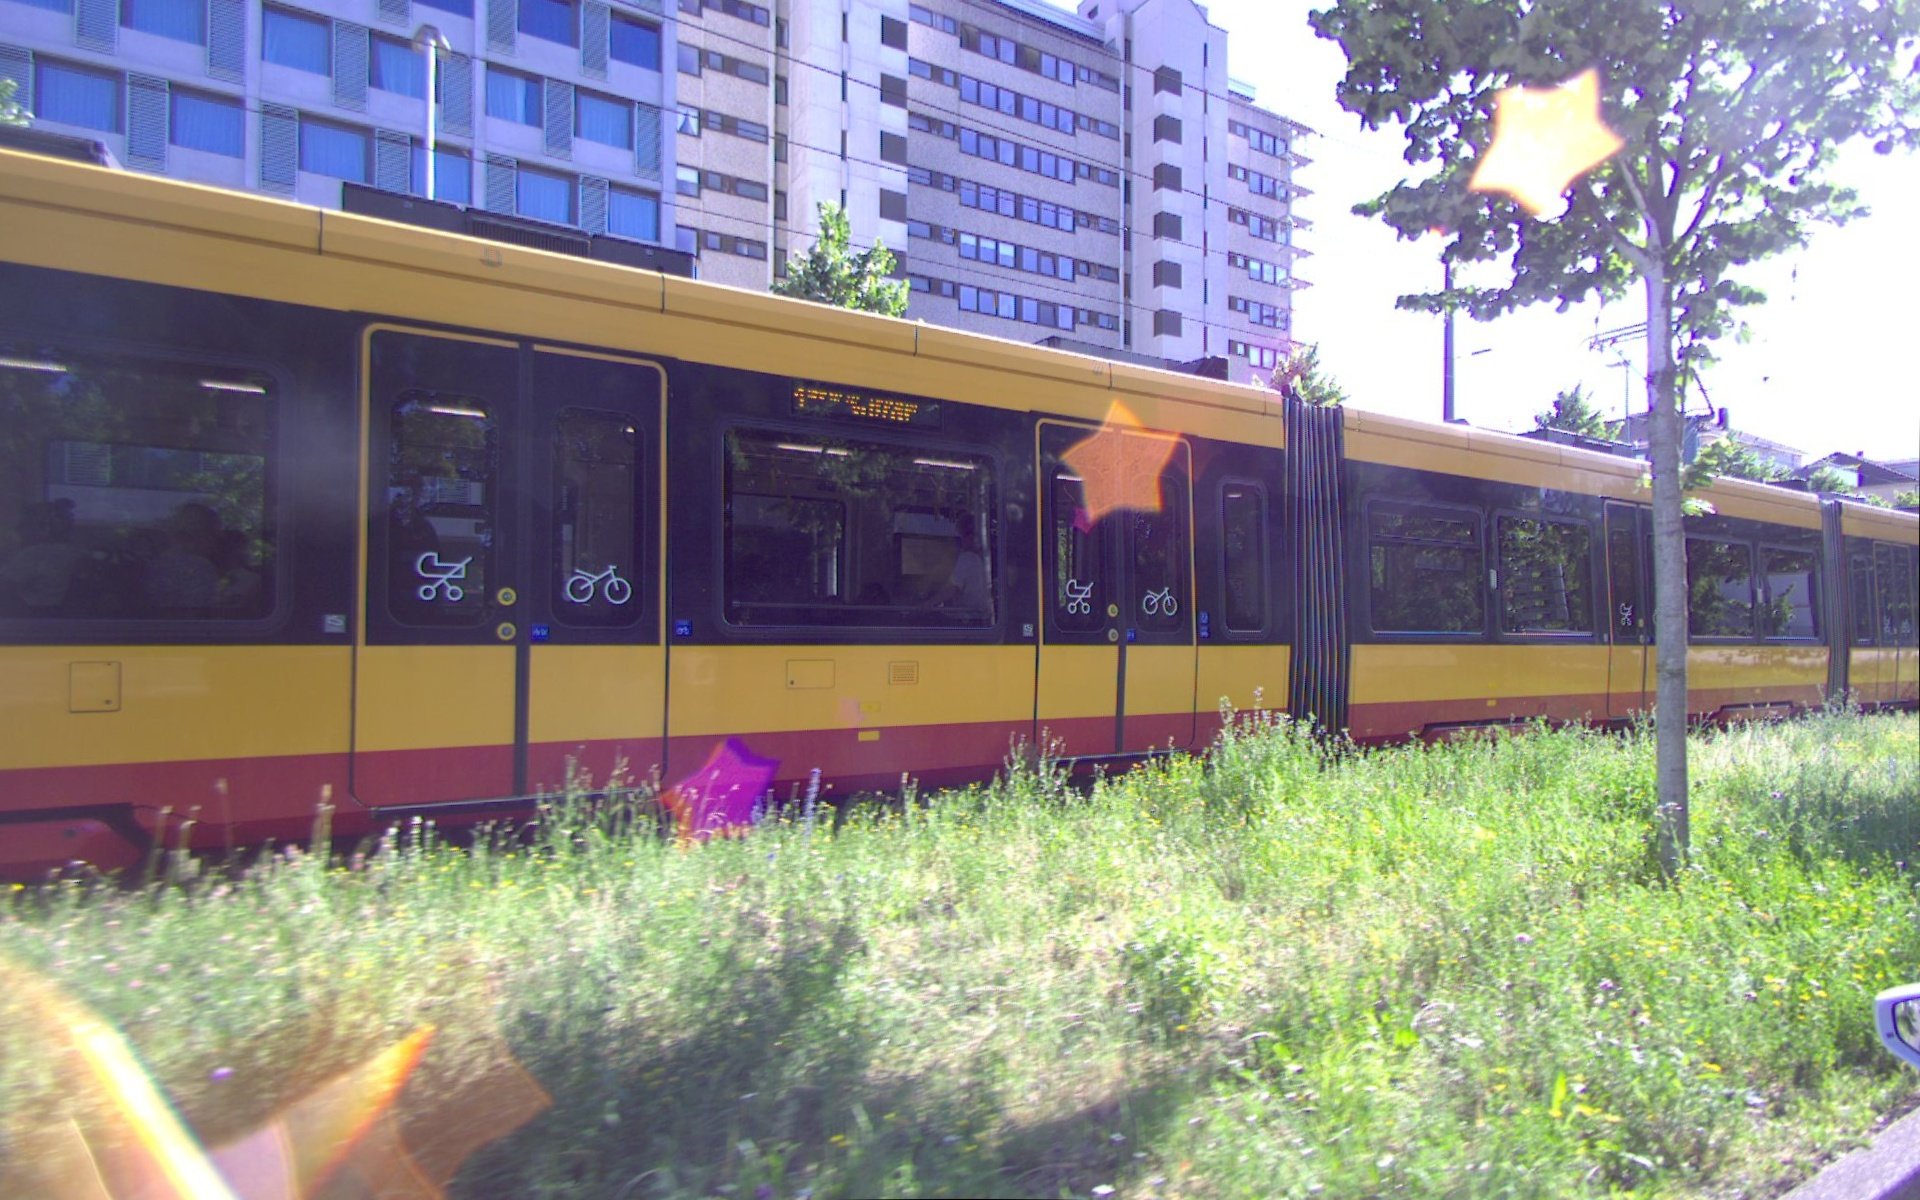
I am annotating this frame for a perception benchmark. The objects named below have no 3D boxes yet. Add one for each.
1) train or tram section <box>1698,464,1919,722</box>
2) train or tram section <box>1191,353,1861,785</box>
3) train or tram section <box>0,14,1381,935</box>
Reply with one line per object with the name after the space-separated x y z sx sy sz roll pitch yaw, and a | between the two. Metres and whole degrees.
17.387 0.036 18.310 11.547 3.718 1.984 2 -1 -31 | train or tram section
7.677 -0.133 12.405 11.187 3.718 1.983 2 -1 -31 | train or tram section
-2.826 -0.458 5.872 13.993 3.718 1.983 2 -1 -32 | train or tram section
